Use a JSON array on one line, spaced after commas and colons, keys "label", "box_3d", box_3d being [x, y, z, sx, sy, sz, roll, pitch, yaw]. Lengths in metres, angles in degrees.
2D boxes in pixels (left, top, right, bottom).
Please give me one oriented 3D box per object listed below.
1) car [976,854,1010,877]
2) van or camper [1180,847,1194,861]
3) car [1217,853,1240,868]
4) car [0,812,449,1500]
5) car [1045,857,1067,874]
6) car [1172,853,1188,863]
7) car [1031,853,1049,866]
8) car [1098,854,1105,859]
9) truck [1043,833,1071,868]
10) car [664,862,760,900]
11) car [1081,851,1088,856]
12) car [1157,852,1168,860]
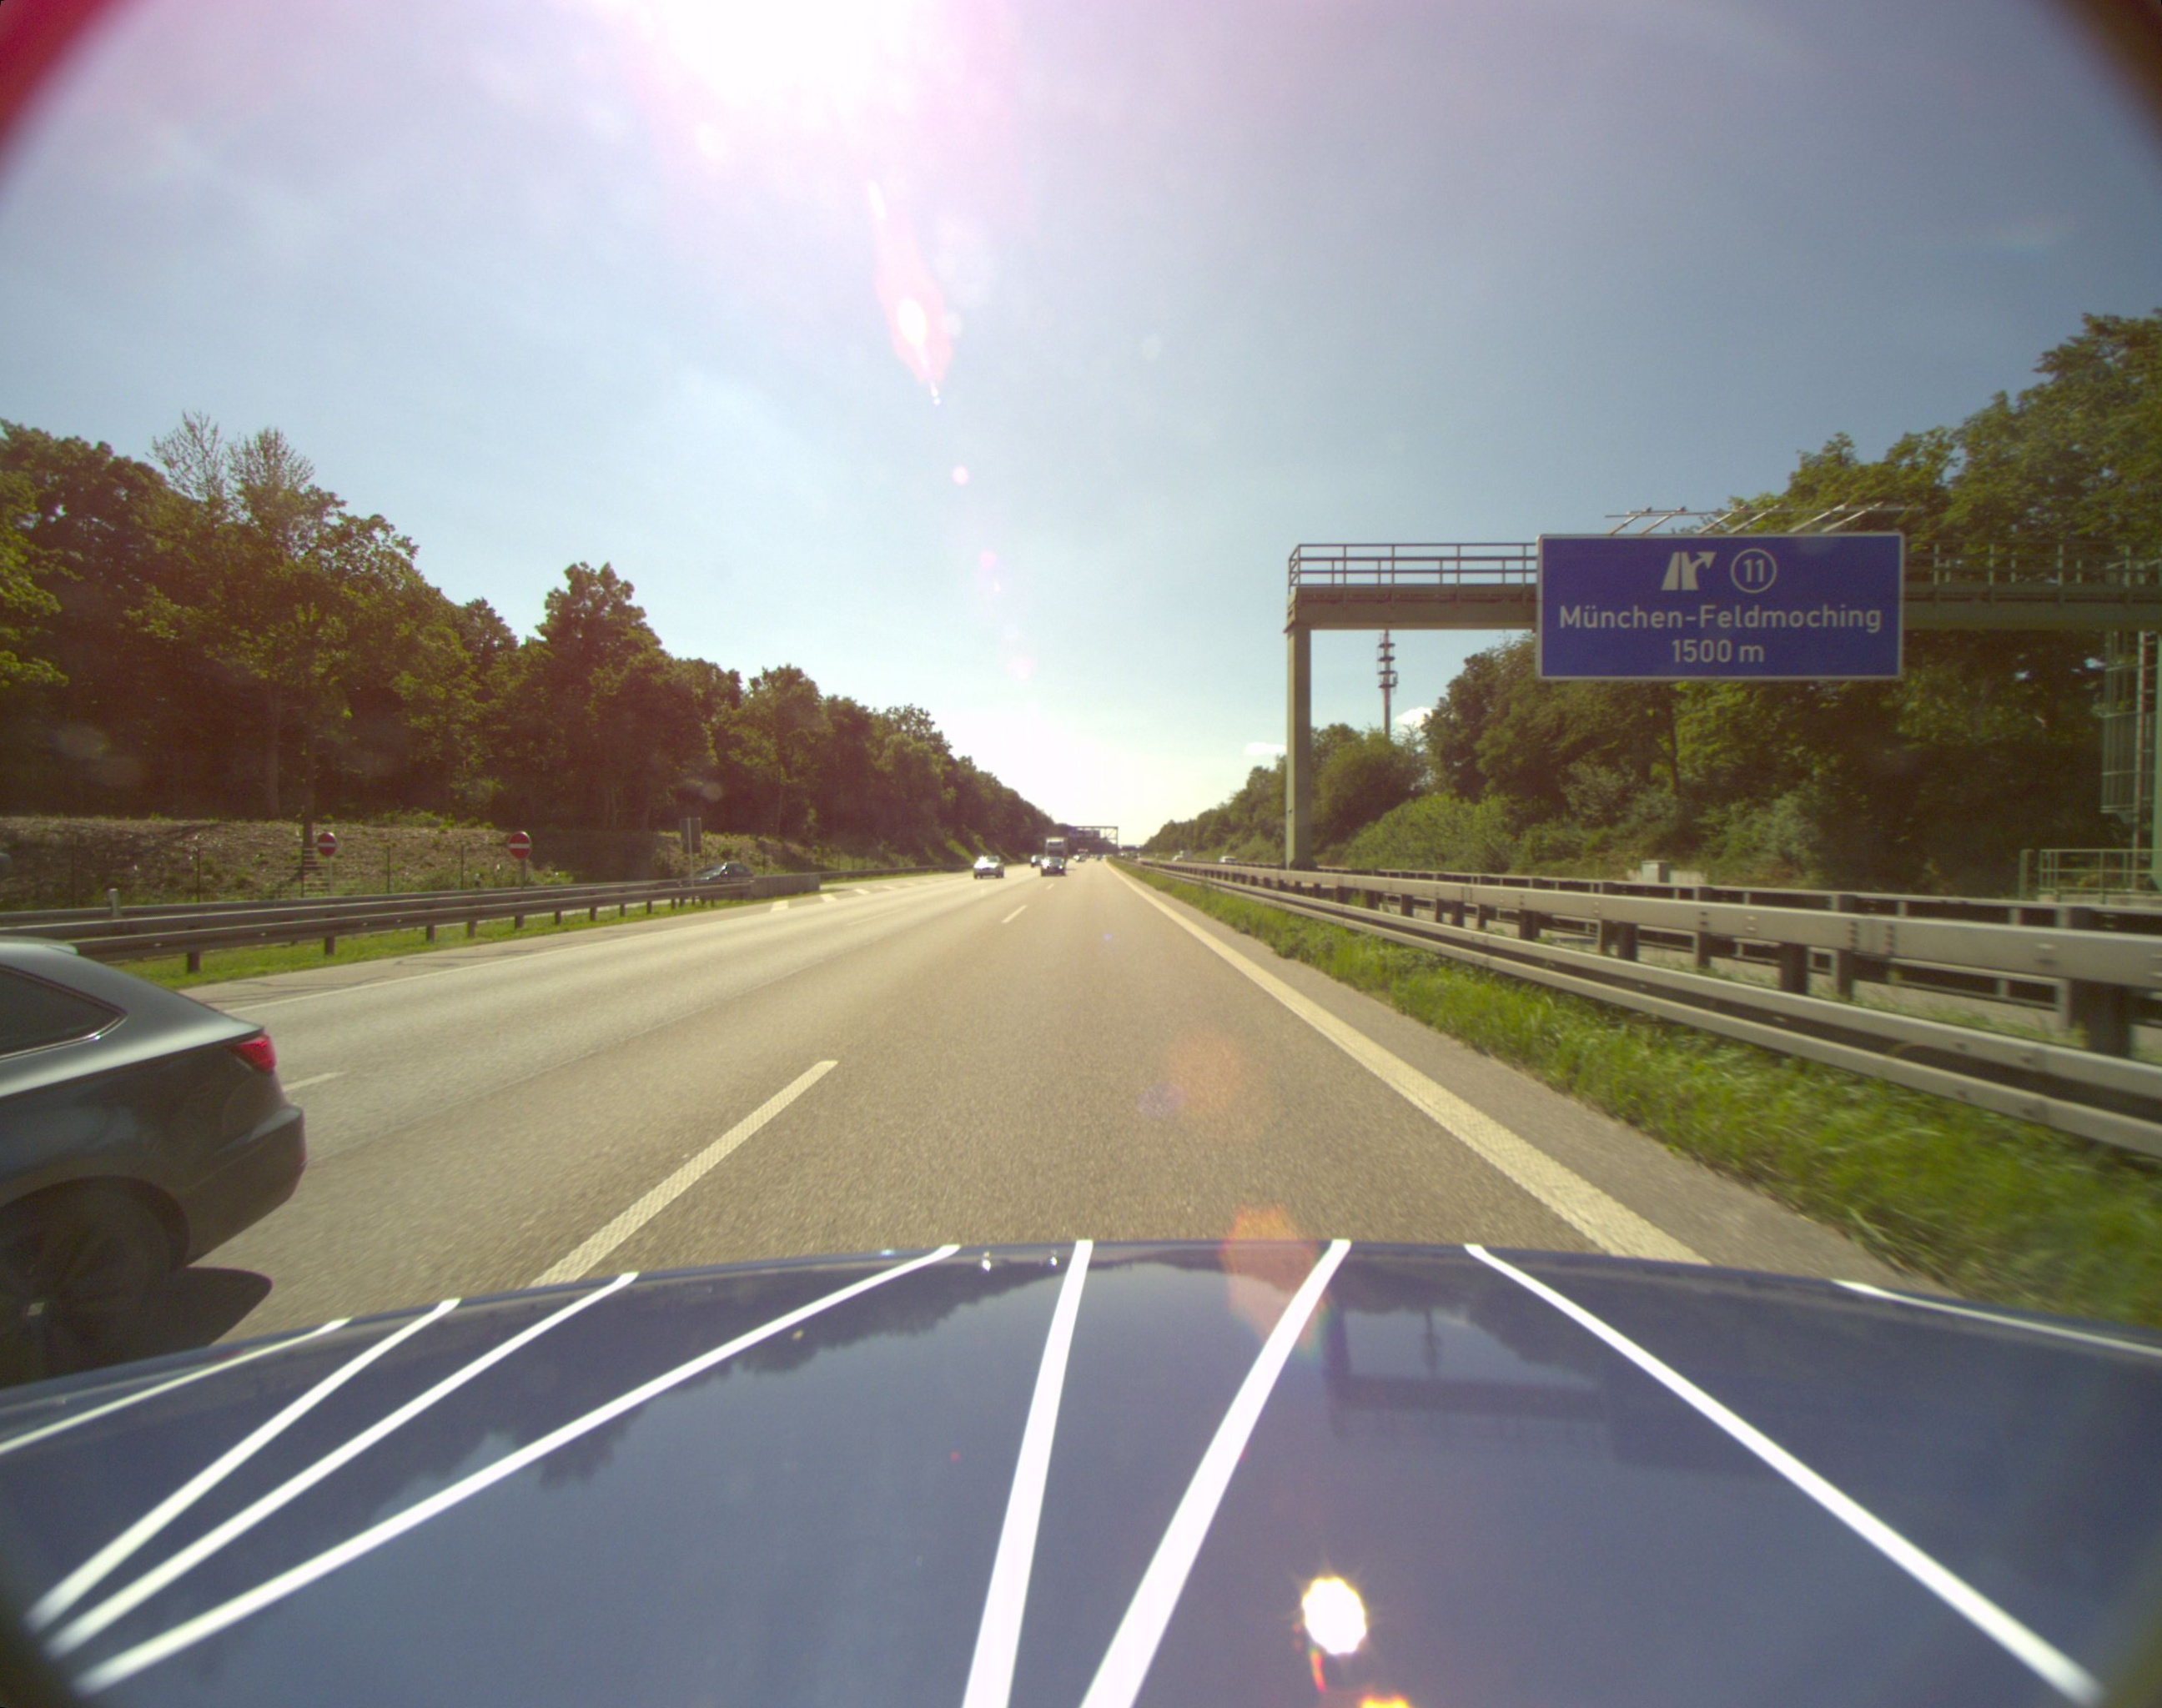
[{"label": "car", "box_3d": [-6.482, 0.814, 56.191, 1.848, 1.559, 4.036, -2, 0, 2]}, {"label": "van or camper", "box_3d": [20.357, 0.047, 146.170, 2.043, 2.545, 6.198, 1, 0, 1]}, {"label": "car", "box_3d": [14.953, 0.669, 77.082, 1.669, 1.455, 3.883, 2, 0, 2]}, {"label": "car", "box_3d": [-3.752, 0.813, 1.108, 1.669, 1.865, 4.827, 0, 0, -1]}, {"label": "car", "box_3d": [-1.903, 0.876, 58.013, 1.537, 1.265, 2.770, 0, 0, 1]}, {"label": "car", "box_3d": [15.527, 0.616, 119.076, 1.883, 1.601, 5.310, 1, 0, 1]}, {"label": "car", "box_3d": [-5.595, 0.749, 104.155, 1.924, 1.659, 4.687, -2, 0, 3]}, {"label": "car", "box_3d": [5.177, 0.691, 189.130, 1.591, 1.291, 3.383, 0, 0, 2]}, {"label": "truck", "box_3d": [-2.565, -0.353, 84.202, 2.676, 3.660, 6.484, 0, 0, 1]}, {"label": "car", "box_3d": [-17.316, 1.231, 35.901, 1.768, 1.559, 4.262, -2, 0, 12]}, {"label": "car", "box_3d": [0.857, -0.113, 198.093, 1.715, 1.477, 4.000, 0, 0, 1]}, {"label": "car", "box_3d": [17.344, 0.402, 162.060, 1.750, 1.819, 5.169, 1, 0, 1]}]
